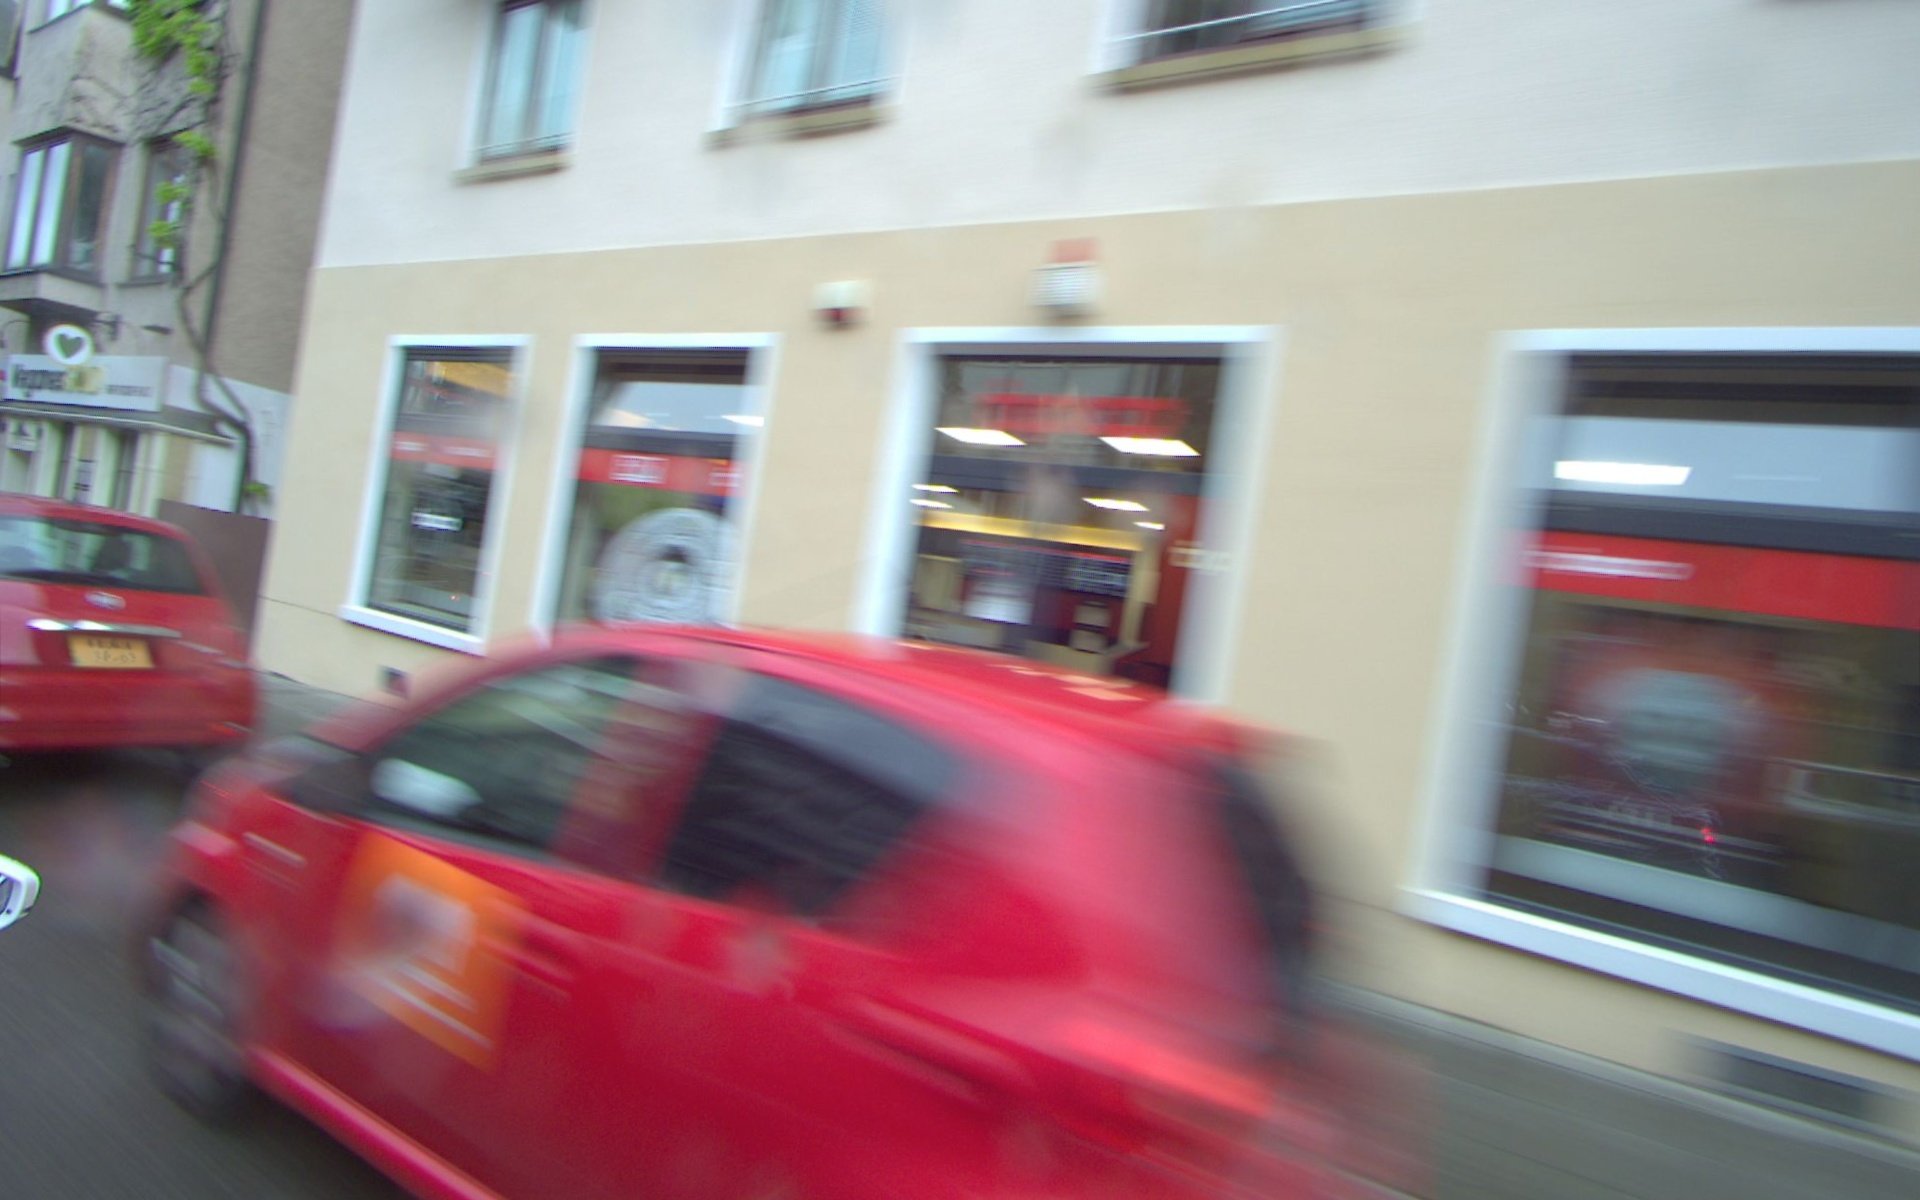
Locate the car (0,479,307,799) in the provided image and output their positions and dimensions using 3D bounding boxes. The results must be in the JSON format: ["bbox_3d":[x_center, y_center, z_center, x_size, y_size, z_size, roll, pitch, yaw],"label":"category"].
[{"bbox_3d":[-5.620,0.054,5.885,3.357,1.479,1.648,7,-1,32],"label":"car"}]

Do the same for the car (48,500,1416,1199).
[{"bbox_3d":[-0.757,0.685,2.818,3.388,1.479,1.719,7,-1,32],"label":"car"}]
